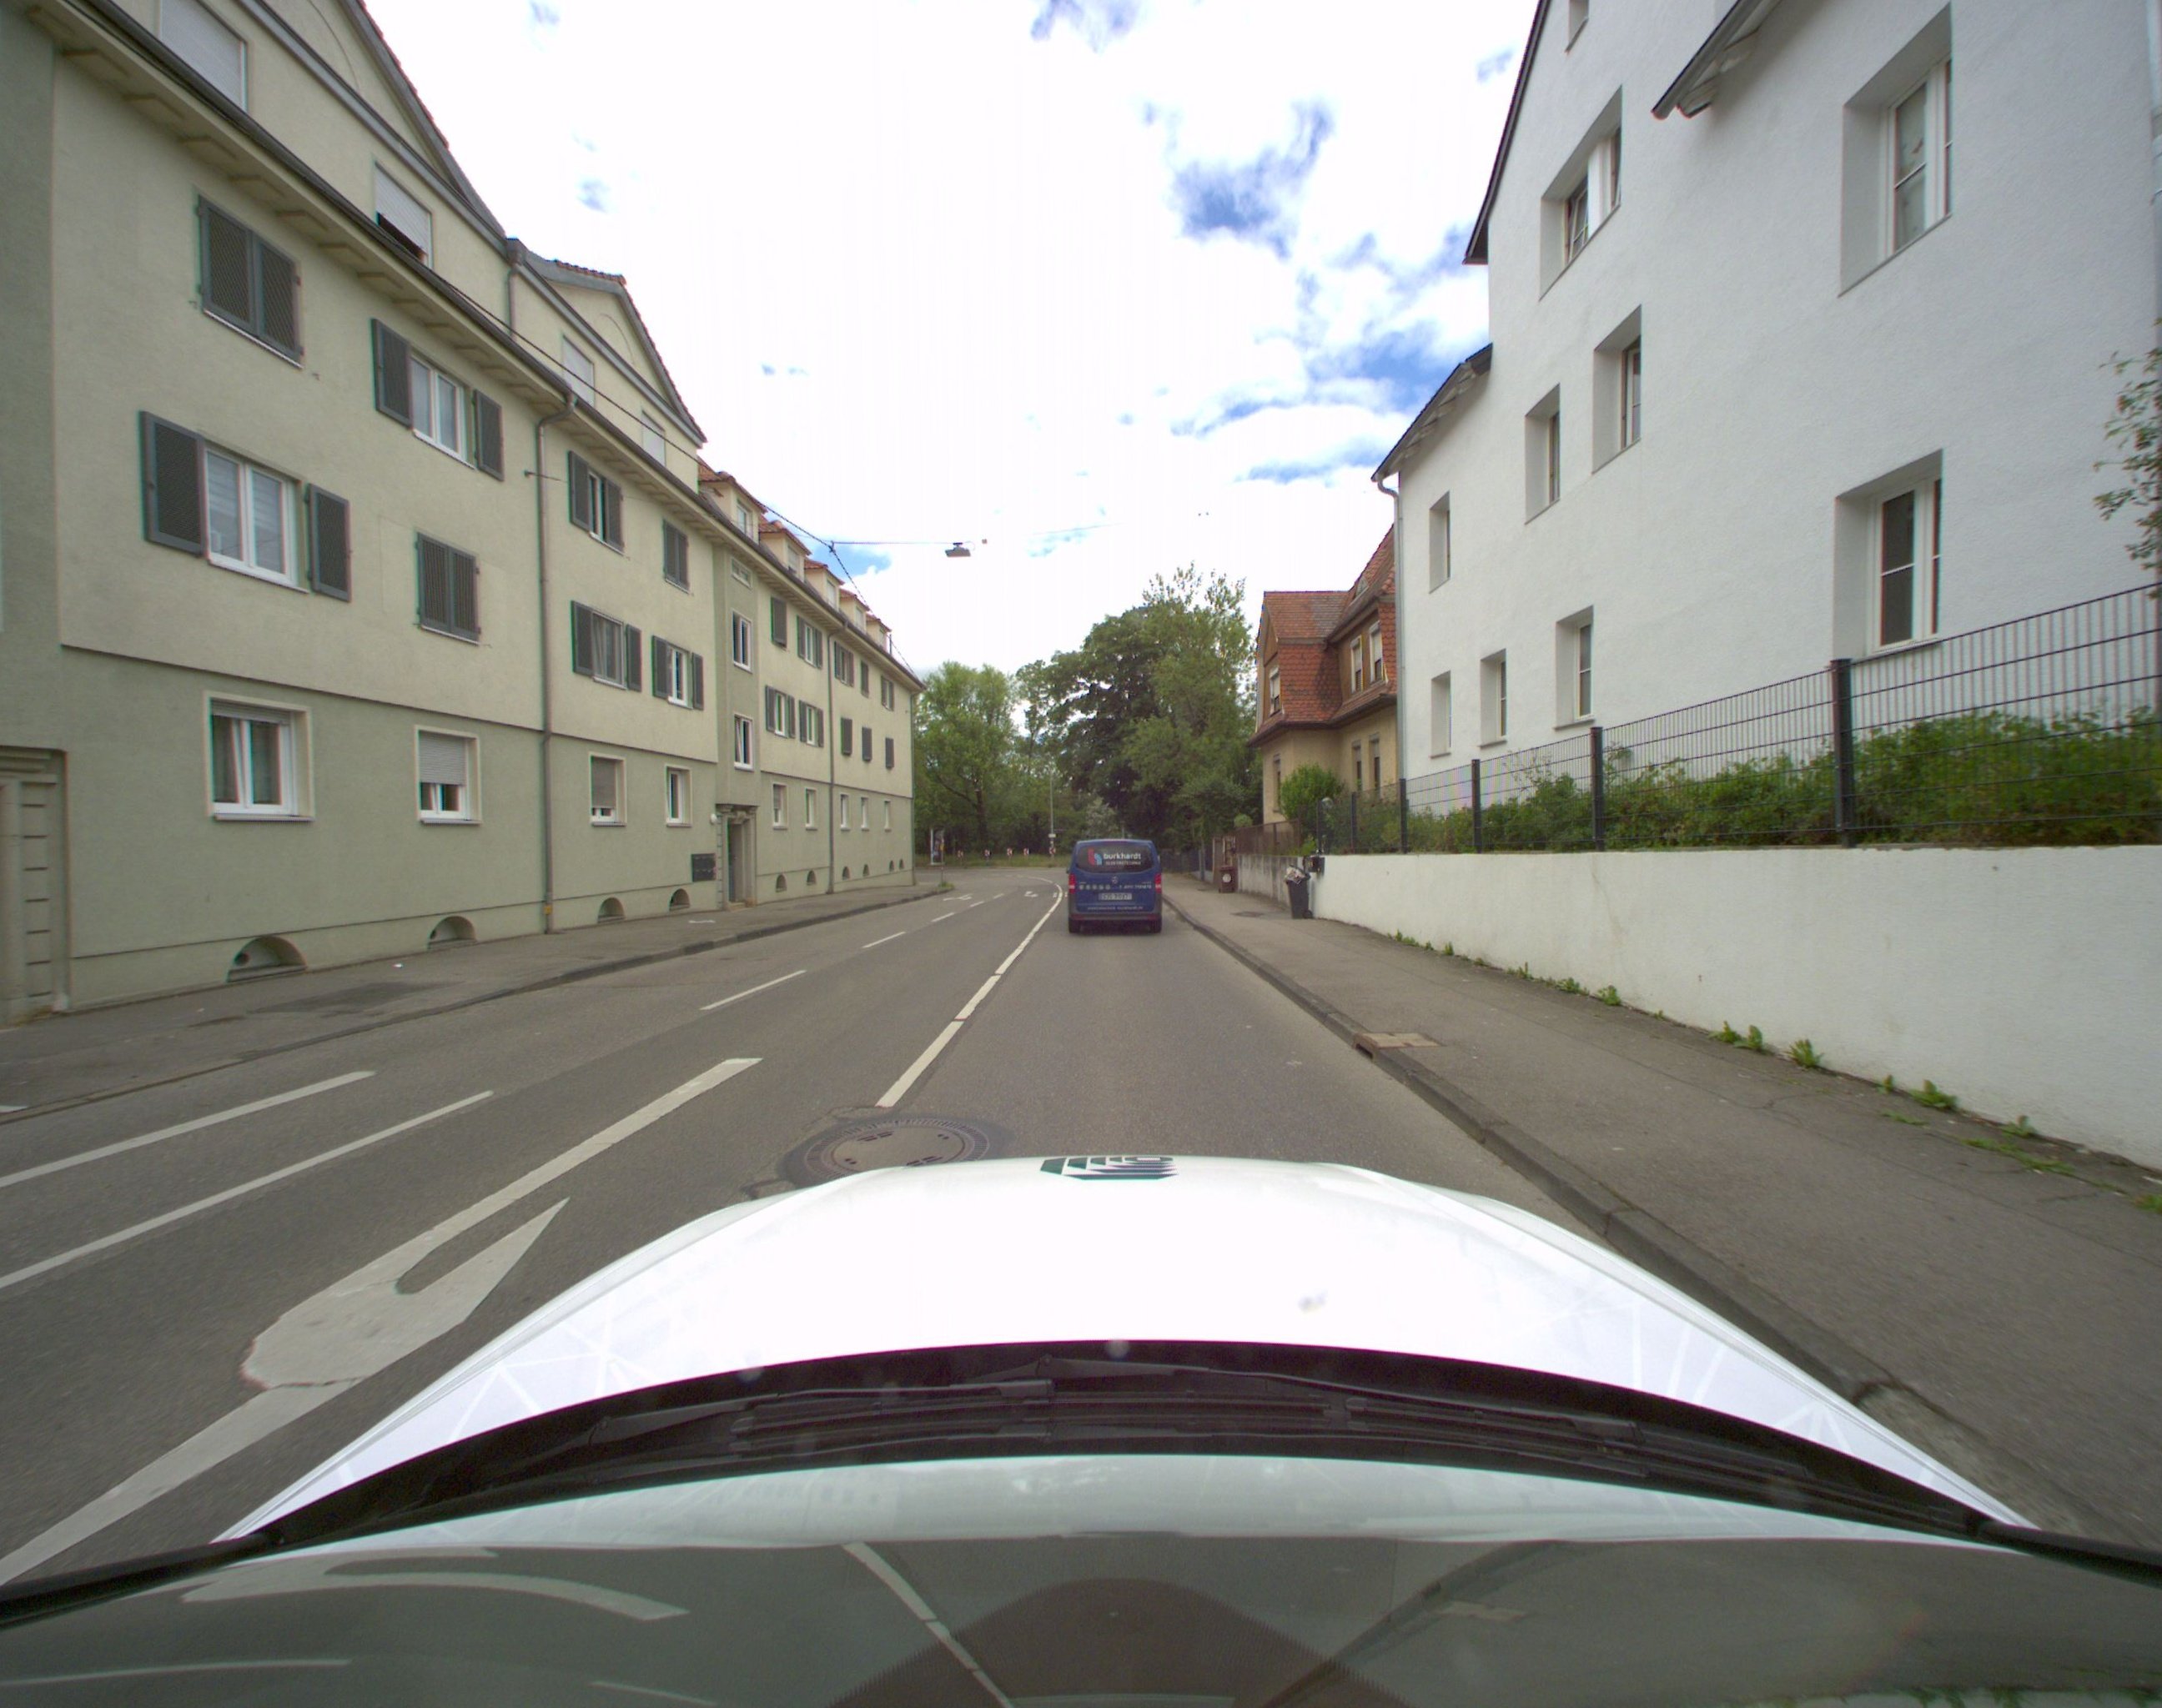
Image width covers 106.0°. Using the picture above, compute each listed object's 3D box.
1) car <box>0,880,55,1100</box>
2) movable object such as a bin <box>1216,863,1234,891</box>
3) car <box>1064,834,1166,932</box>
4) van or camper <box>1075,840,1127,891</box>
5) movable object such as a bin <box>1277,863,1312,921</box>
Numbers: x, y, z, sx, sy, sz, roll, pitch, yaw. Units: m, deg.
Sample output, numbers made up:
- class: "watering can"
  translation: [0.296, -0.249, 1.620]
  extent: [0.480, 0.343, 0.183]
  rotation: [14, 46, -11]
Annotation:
- class: "car"
  translation: [-7.823, 0.889, 3.078]
  extent: [1.704, 1.403, 4.846]
  rotation: [-1, 0, 1]
- class: "movable object such as a bin"
  translation: [4.927, 0.796, 27.953]
  extent: [0.459, 0.924, 0.566]
  rotation: [-4, 0, 0]
- class: "car"
  translation: [0.617, 0.539, 17.534]
  extent: [1.908, 1.837, 4.292]
  rotation: [-1, 0, -1]
- class: "van or camper"
  translation: [0.806, 0.436, 35.933]
  extent: [2.013, 1.956, 4.895]
  rotation: [-4, 1, 0]
- class: "movable object such as a bin"
  translation: [4.607, 0.812, 17.605]
  extent: [0.526, 1.178, 0.634]
  rotation: [-4, 0, 0]
